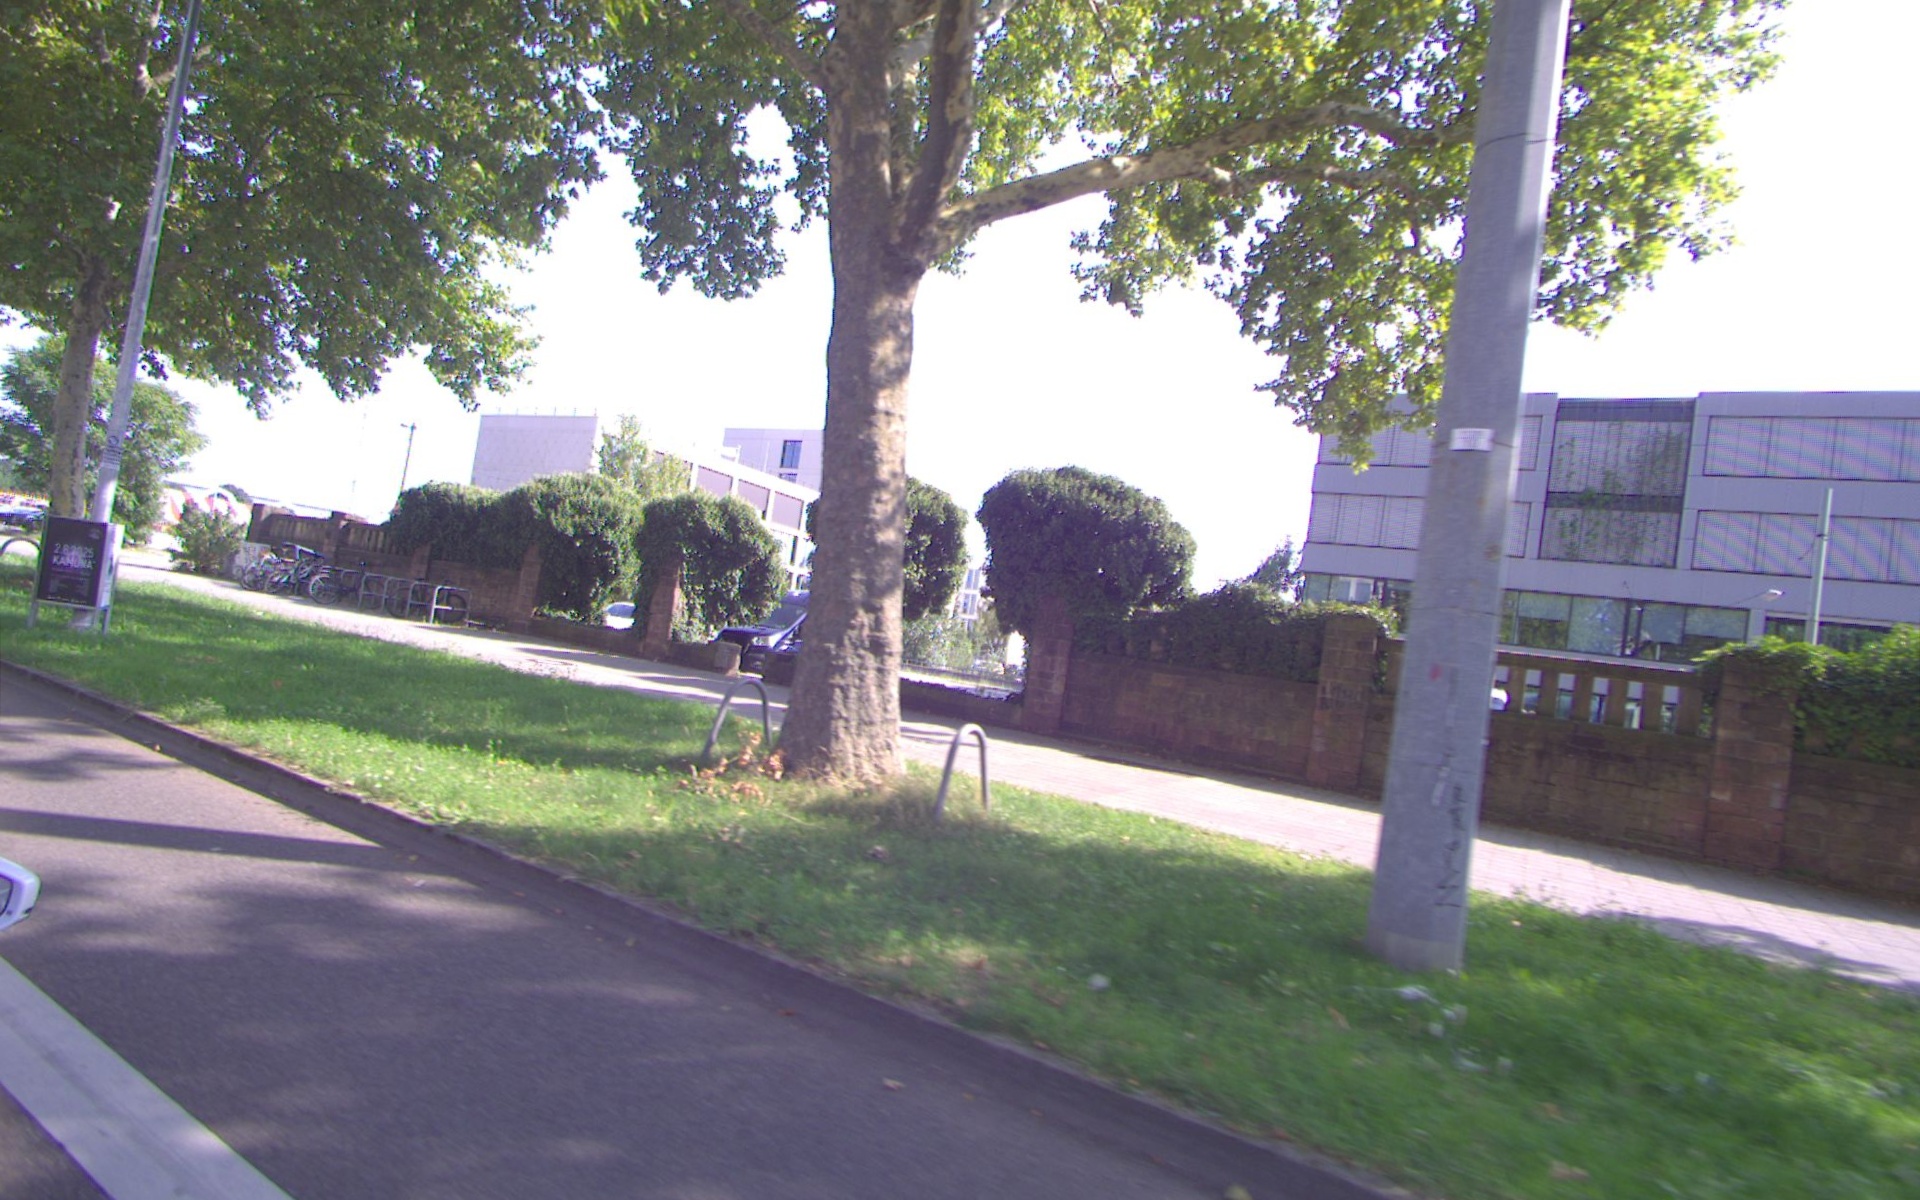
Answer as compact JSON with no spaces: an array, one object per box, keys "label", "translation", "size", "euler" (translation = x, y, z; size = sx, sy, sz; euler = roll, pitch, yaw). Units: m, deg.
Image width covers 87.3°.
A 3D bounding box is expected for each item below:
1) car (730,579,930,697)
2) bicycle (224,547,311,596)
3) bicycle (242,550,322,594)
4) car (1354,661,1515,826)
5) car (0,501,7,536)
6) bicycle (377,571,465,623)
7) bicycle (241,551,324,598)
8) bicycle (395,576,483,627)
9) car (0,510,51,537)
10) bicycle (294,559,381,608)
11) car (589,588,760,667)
[{"label":"car","translation":[-3.266,1.090,26.486],"size":[2.096,2.394,5.141],"euler":[7,-3,35]},{"label":"bicycle","translation":[-17.475,-0.706,25.409],"size":[1.634,0.981,0.505],"euler":[8,0,-10]},{"label":"bicycle","translation":[-18.389,-0.746,27.321],"size":[0.498,0.981,1.658],"euler":[7,-1,34]},{"label":"car","translation":[8.763,2.614,18.313],"size":[2.021,2.342,4.678],"euler":[7,-4,31]},{"label":"car","translation":[-47.351,-4.104,47.896],"size":[1.710,1.697,4.218],"euler":[10,-3,-30]},{"label":"bicycle","translation":[-12.506,-0.055,23.393],"size":[0.498,0.981,1.657],"euler":[7,-1,36]},{"label":"bicycle","translation":[-17.567,-0.649,26.099],"size":[1.634,0.981,0.505],"euler":[8,0,-10]},{"label":"bicycle","translation":[-11.868,0.046,22.956],"size":[0.498,0.981,1.659],"euler":[7,-1,32]},{"label":"car","translation":[-71.804,-5.901,76.431],"size":[1.504,1.461,3.780],"euler":[6,-5,38]},{"label":"bicycle","translation":[-15.093,-0.386,24.433],"size":[0.498,0.981,1.657],"euler":[7,-1,36]},{"label":"car","translation":[-8.362,0.862,29.843],"size":[1.945,1.693,4.528],"euler":[7,-3,35]}]
